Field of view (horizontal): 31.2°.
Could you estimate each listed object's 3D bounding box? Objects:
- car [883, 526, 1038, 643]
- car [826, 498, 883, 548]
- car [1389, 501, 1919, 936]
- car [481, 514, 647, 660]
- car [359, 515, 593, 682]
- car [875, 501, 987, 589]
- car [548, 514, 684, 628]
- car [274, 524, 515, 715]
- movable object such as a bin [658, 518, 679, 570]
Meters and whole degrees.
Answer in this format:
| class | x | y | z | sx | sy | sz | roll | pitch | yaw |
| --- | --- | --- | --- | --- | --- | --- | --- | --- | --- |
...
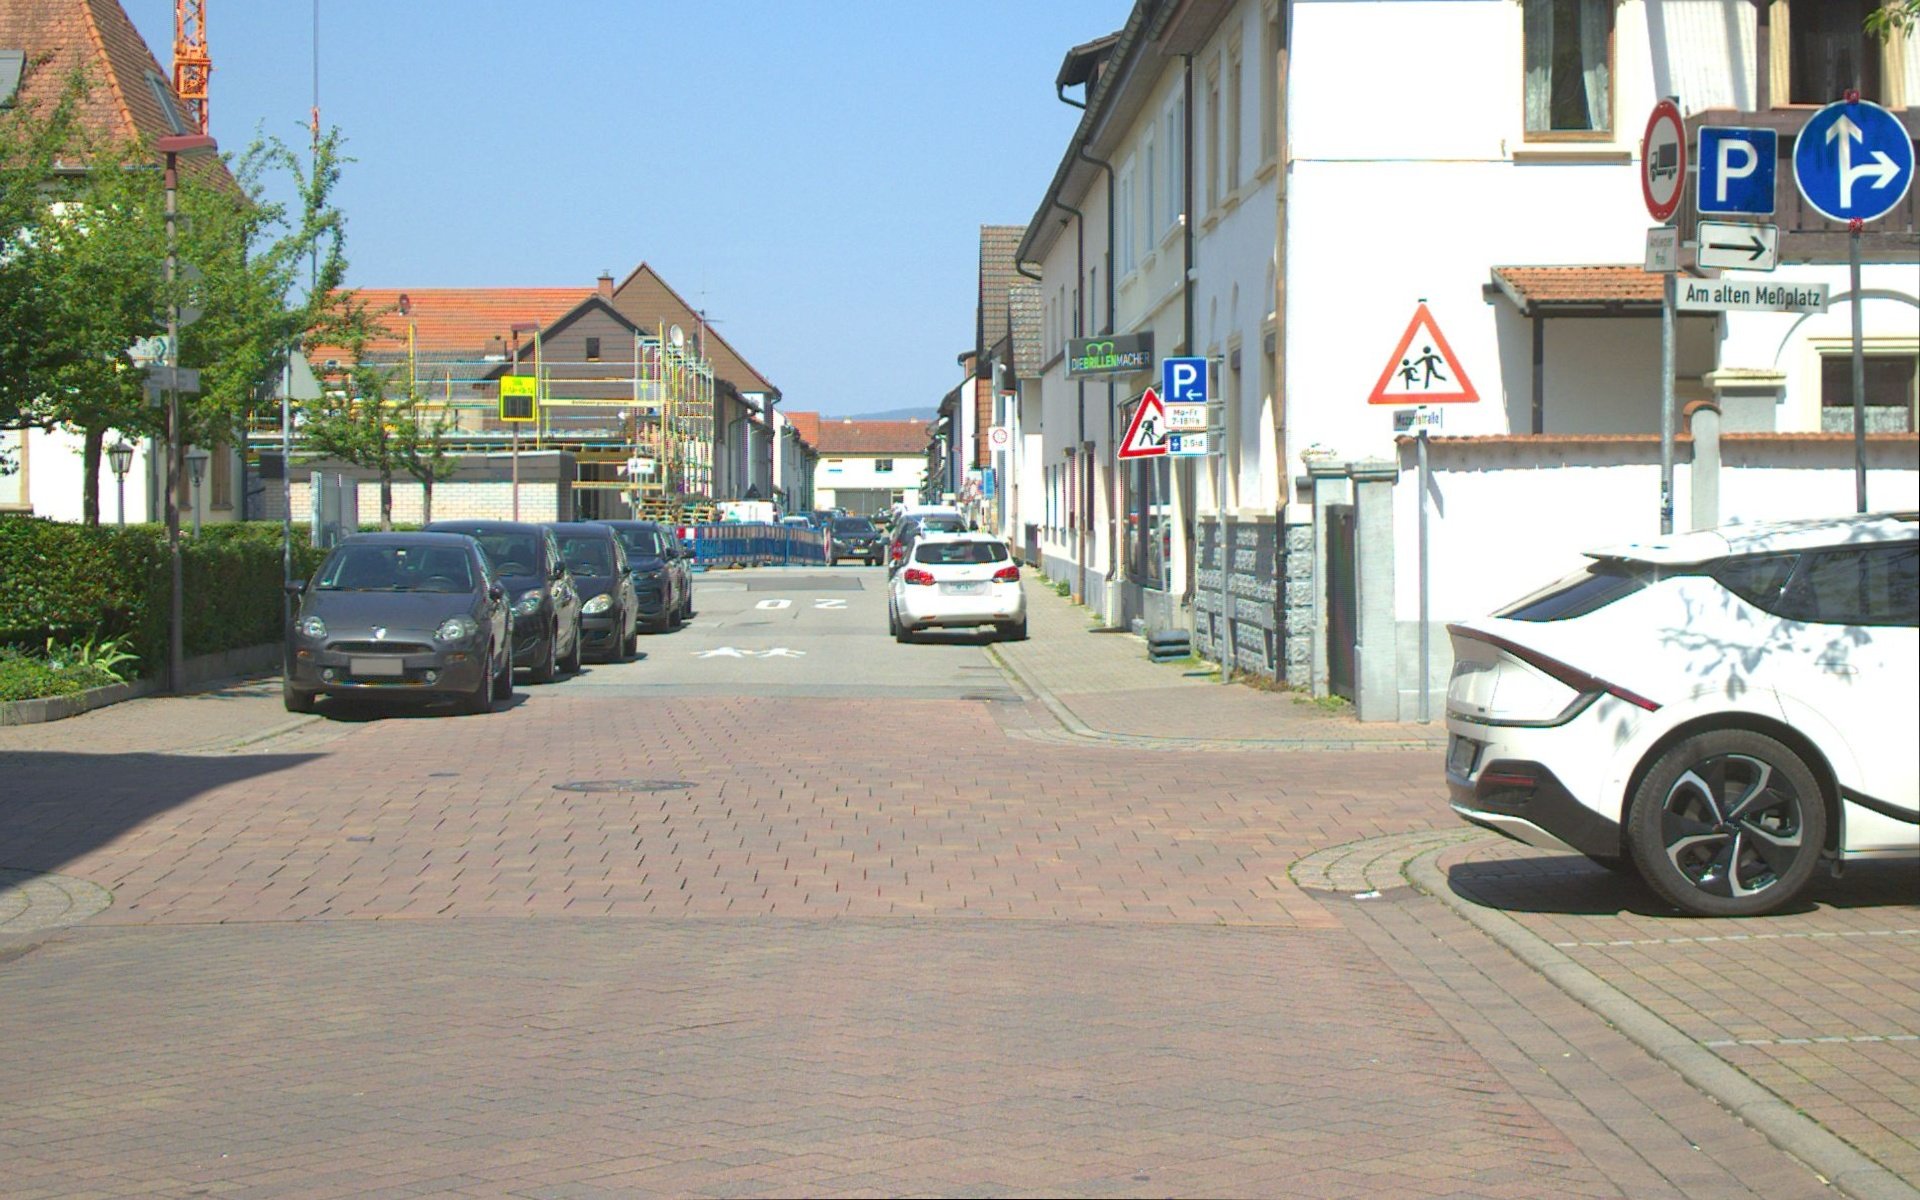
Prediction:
| class | x | y | z | sx | sy | sz | roll | pitch | yaw |
| --- | --- | --- | --- | --- | --- | --- | --- | --- | --- |
| car | 0.055 | -0.247 | 47.978 | 1.887 | 1.536 | 4.242 | 0 | 2 | 4 |
| car | -3.595 | -2.639 | 117.063 | 1.881 | 1.662 | 4.154 | 0 | 2 | -2 |
| car | 4.131 | 0.384 | 13.995 | 4.440 | 1.570 | 1.789 | -2 | 2 | -3 |
| car | -4.669 | -0.198 | 40.943 | 1.637 | 1.623 | 3.769 | 0 | 2 | -2 |
| car | -4.898 | -0.061 | 35.267 | 1.815 | 1.599 | 4.025 | 0 | 2 | 0 |
| car | -0.598 | -1.116 | 67.835 | 1.884 | 1.550 | 3.895 | -4 | 2 | -4 |
| car | -5.128 | -0.468 | 51.718 | 1.826 | 1.625 | 4.218 | 0 | 2 | -3 |
| car | -4.764 | 0.113 | 29.410 | 1.702 | 1.491 | 3.858 | 0 | 2 | -4 |
| movable object such as a bin | -6.510 | -1.259 | 76.853 | 0.431 | 1.151 | 0.364 | 0 | 2 | -11 |
